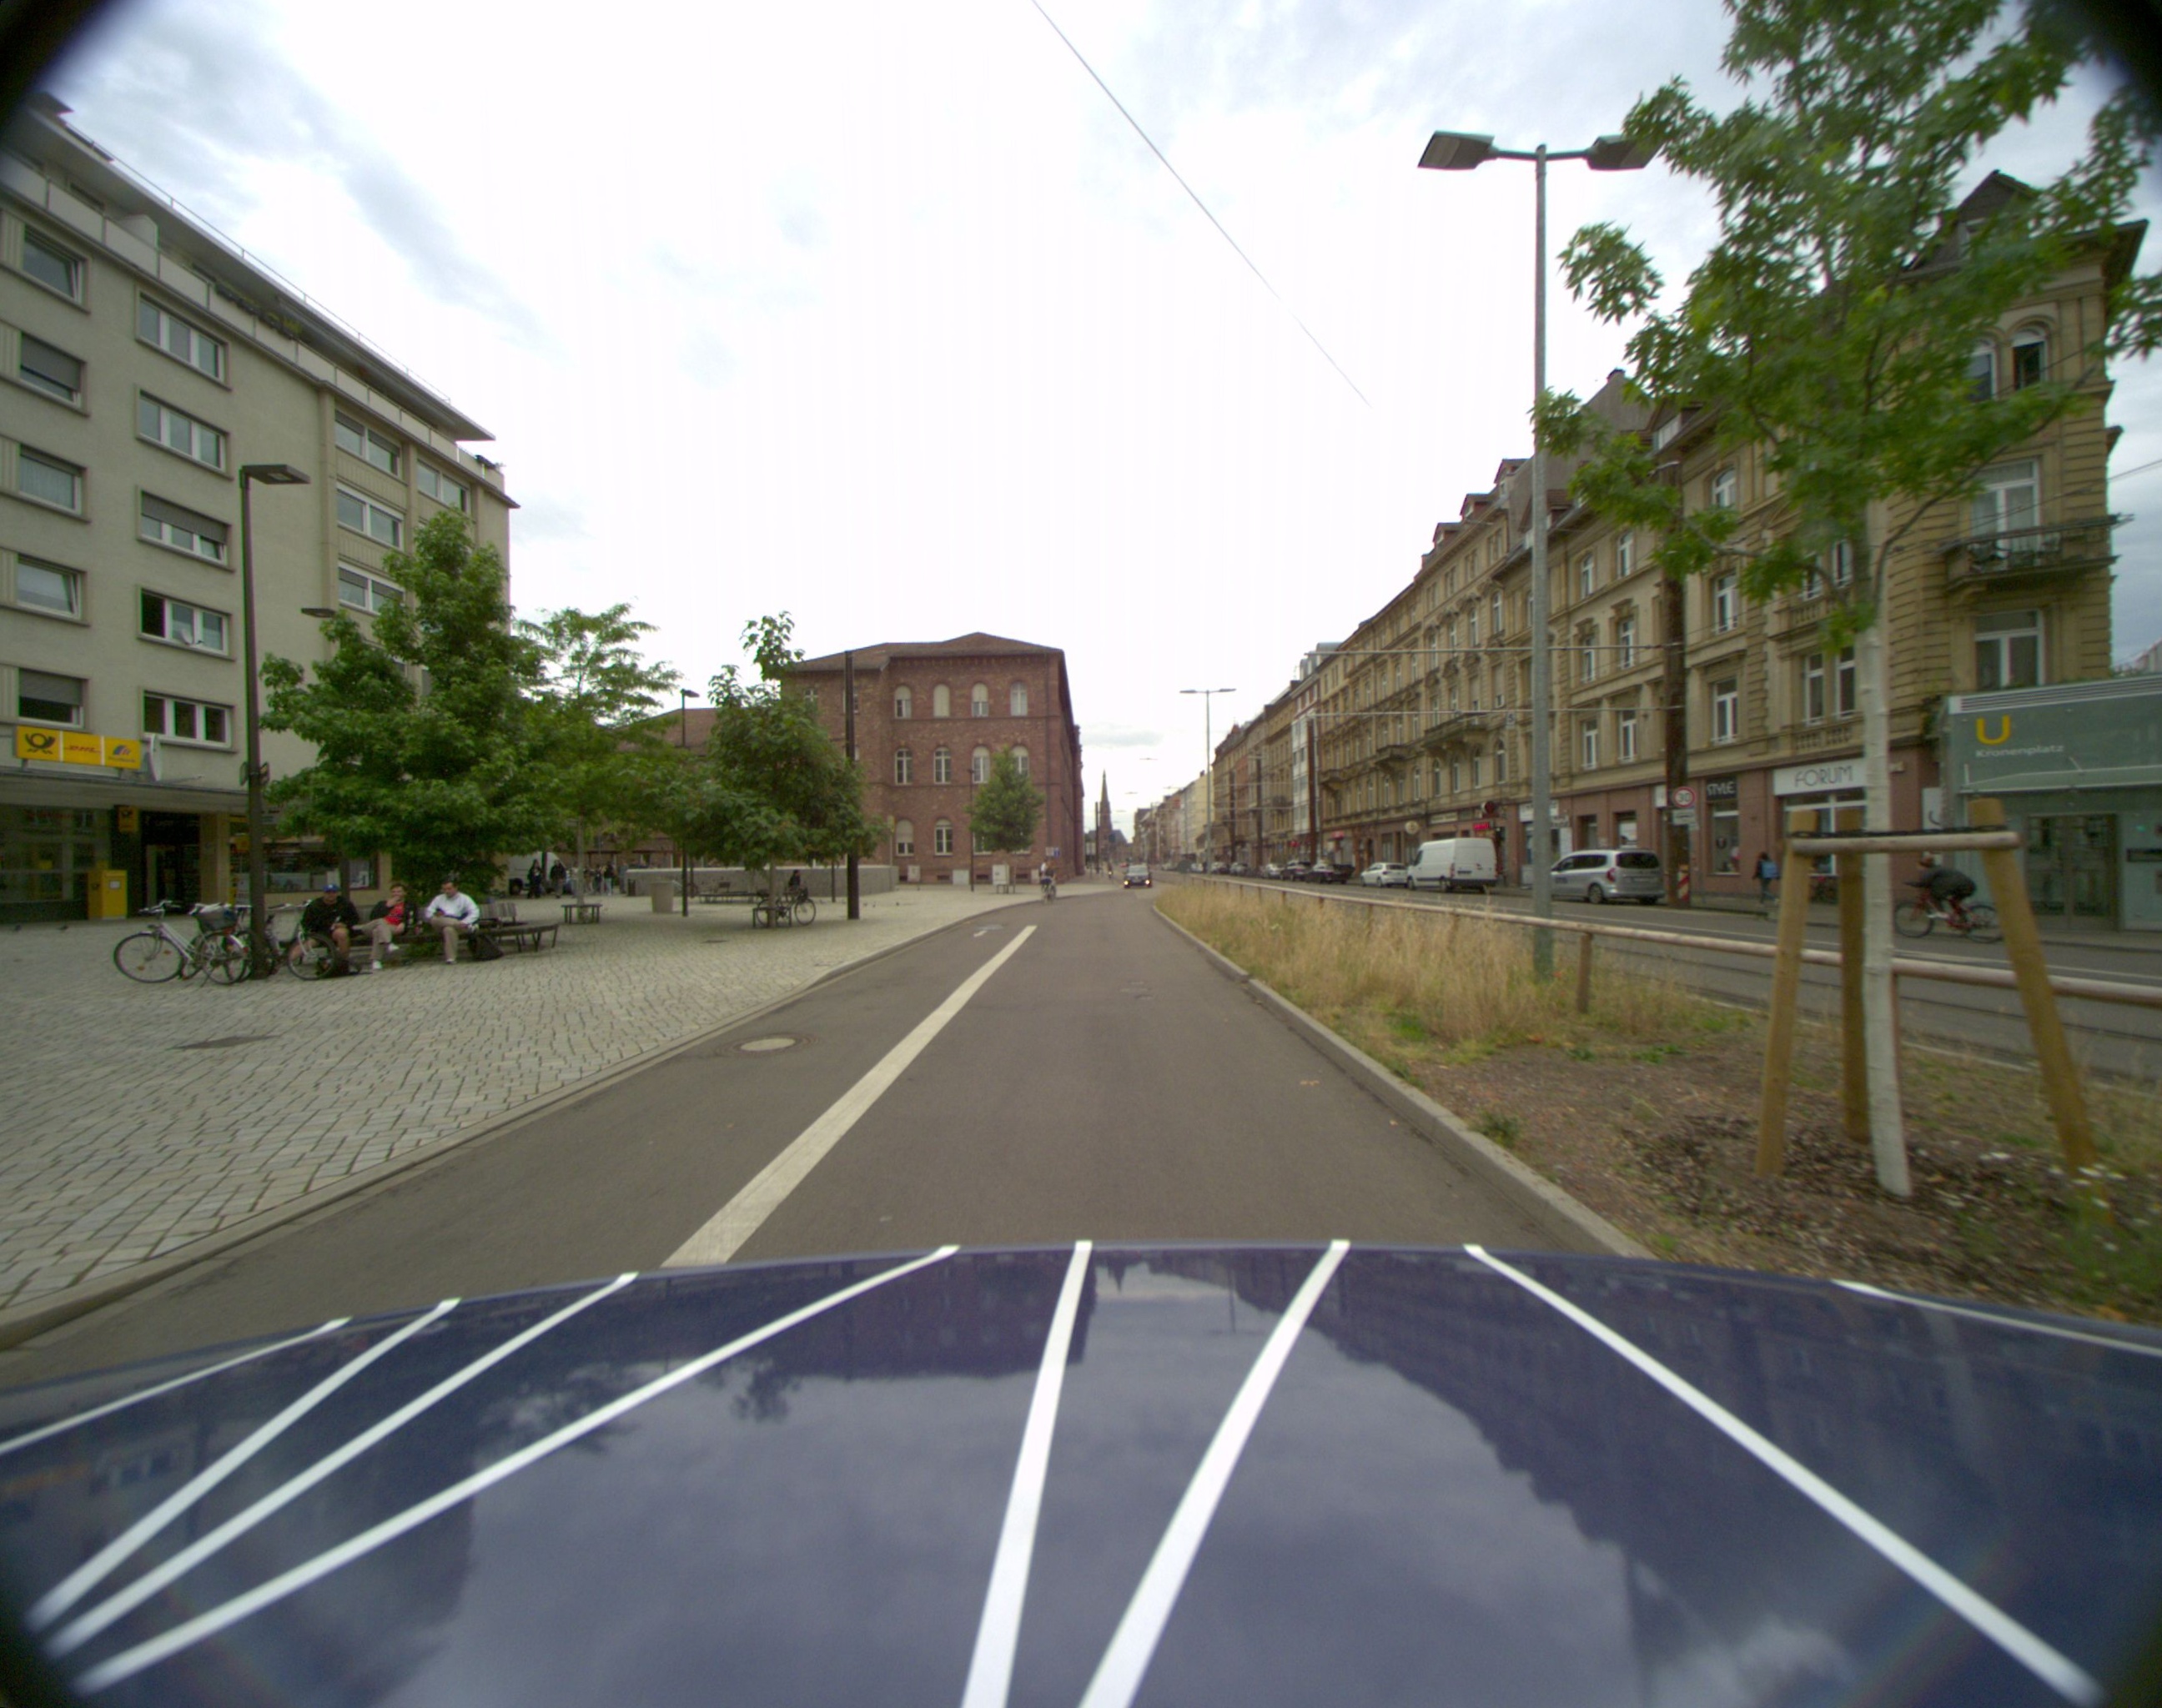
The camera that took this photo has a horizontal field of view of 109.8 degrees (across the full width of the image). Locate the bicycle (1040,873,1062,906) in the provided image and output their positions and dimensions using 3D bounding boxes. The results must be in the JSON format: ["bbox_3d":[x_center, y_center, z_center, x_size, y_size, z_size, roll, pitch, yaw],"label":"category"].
[{"bbox_3d":[-1.236,1.446,31.492,0.524,1.253,1.943,-1,0,10],"label":"bicycle"}]

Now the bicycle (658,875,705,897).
[{"bbox_3d":[-19.523,1.552,37.108,2.029,1.058,0.470,1,0,0],"label":"bicycle"}]

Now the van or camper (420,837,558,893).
[{"bbox_3d":[-31.190,0.566,40.406,1.998,2.703,6.561,-2,0,1],"label":"van or camper"}]

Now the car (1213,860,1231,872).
[{"bbox_3d":[19.164,1.615,103.652,1.748,1.662,4.047,0,-1,1],"label":"car"}]

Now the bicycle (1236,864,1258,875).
[{"bbox_3d":[18.291,1.698,83.736,2.287,1.196,0.705,1,0,1],"label":"bicycle"}]

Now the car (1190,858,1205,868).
[{"bbox_3d":[18.769,1.444,122.400,1.828,1.512,4.546,0,-1,1],"label":"car"}]

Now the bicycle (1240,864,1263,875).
[{"bbox_3d":[18.494,1.661,82.433,2.287,1.196,0.705,1,0,1],"label":"bicycle"}]

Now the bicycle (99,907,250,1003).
[{"bbox_3d":[-11.699,1.274,9.802,2.037,1.104,0.478,0,0,17],"label":"bicycle"}]

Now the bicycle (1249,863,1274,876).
[{"bbox_3d":[18.266,1.583,76.869,2.287,1.321,0.666,1,0,1],"label":"bicycle"}]

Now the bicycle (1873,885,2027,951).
[{"bbox_3d":[15.051,1.074,13.248,0.480,1.015,1.912,-1,0,0],"label":"bicycle"}]

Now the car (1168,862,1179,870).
[{"bbox_3d":[19.946,2.517,163.333,1.928,1.722,3.827,-2,0,1],"label":"car"}]

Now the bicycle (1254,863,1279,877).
[{"bbox_3d":[18.117,1.558,74.133,2.287,1.321,0.521,1,0,1],"label":"bicycle"}]

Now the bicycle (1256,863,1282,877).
[{"bbox_3d":[18.149,1.528,73.410,2.287,1.321,0.666,1,0,1],"label":"bicycle"}]

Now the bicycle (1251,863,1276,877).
[{"bbox_3d":[18.238,1.591,76.041,2.287,1.321,0.666,1,0,1],"label":"bicycle"}]

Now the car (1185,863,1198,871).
[{"bbox_3d":[19.977,2.375,137.382,1.651,1.372,3.436,0,-1,-2],"label":"car"}]

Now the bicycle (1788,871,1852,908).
[{"bbox_3d":[20.679,0.973,21.303,0.340,0.953,1.688,-2,0,8],"label":"bicycle"}]

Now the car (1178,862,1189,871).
[{"bbox_3d":[20.492,2.416,152.222,1.704,1.662,4.182,-2,0,2],"label":"car"}]

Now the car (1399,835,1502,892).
[{"bbox_3d":[17.358,0.440,36.083,2.058,2.472,5.666,1,0,0],"label":"car"}]

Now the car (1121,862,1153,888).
[{"bbox_3d":[3.554,1.304,48.797,1.747,1.538,3.650,-2,0,0],"label":"car"}]

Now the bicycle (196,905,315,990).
[{"bbox_3d":[-11.715,1.306,10.783,1.602,1.104,0.478,0,0,16],"label":"bicycle"}]

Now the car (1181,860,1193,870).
[{"bbox_3d":[19.800,2.052,142.032,1.706,1.746,3.921,0,0,3],"label":"car"}]

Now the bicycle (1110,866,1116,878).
[{"bbox_3d":[3.199,1.813,76.270,0.472,1.151,2.273,-1,0,1],"label":"bicycle"}]

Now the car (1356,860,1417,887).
[{"bbox_3d":[17.576,1.101,43.911,1.775,1.414,4.165,1,0,0],"label":"car"}]

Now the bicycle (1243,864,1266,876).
[{"bbox_3d":[18.512,1.682,80.942,2.287,1.196,0.666,1,0,1],"label":"bicycle"}]

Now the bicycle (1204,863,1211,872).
[{"bbox_3d":[16.686,1.779,100.230,0.586,1.167,2.045,1,0,3],"label":"bicycle"}]

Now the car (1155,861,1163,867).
[{"bbox_3d":[19.924,2.586,193.937,1.867,1.553,4.001,1,0,1],"label":"car"}]

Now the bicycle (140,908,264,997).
[{"bbox_3d":[-11.976,1.315,10.353,1.602,1.104,0.478,0,0,16],"label":"bicycle"}]

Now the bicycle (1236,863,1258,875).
[{"bbox_3d":[18.444,1.646,84.418,2.287,1.196,0.547,-2,0,1],"label":"bicycle"}]

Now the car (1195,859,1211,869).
[{"bbox_3d":[18.900,1.533,117.854,1.748,1.456,4.047,0,-1,1],"label":"car"}]

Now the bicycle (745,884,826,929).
[{"bbox_3d":[-7.763,1.377,19.979,1.917,1.116,0.646,-2,0,12],"label":"bicycle"}]

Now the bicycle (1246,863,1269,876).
[{"bbox_3d":[18.493,1.633,79.689,2.287,1.321,0.666,1,0,1],"label":"bicycle"}]

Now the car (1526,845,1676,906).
[{"bbox_3d":[17.220,0.689,25.484,1.907,1.853,4.520,1,0,0],"label":"car"}]
